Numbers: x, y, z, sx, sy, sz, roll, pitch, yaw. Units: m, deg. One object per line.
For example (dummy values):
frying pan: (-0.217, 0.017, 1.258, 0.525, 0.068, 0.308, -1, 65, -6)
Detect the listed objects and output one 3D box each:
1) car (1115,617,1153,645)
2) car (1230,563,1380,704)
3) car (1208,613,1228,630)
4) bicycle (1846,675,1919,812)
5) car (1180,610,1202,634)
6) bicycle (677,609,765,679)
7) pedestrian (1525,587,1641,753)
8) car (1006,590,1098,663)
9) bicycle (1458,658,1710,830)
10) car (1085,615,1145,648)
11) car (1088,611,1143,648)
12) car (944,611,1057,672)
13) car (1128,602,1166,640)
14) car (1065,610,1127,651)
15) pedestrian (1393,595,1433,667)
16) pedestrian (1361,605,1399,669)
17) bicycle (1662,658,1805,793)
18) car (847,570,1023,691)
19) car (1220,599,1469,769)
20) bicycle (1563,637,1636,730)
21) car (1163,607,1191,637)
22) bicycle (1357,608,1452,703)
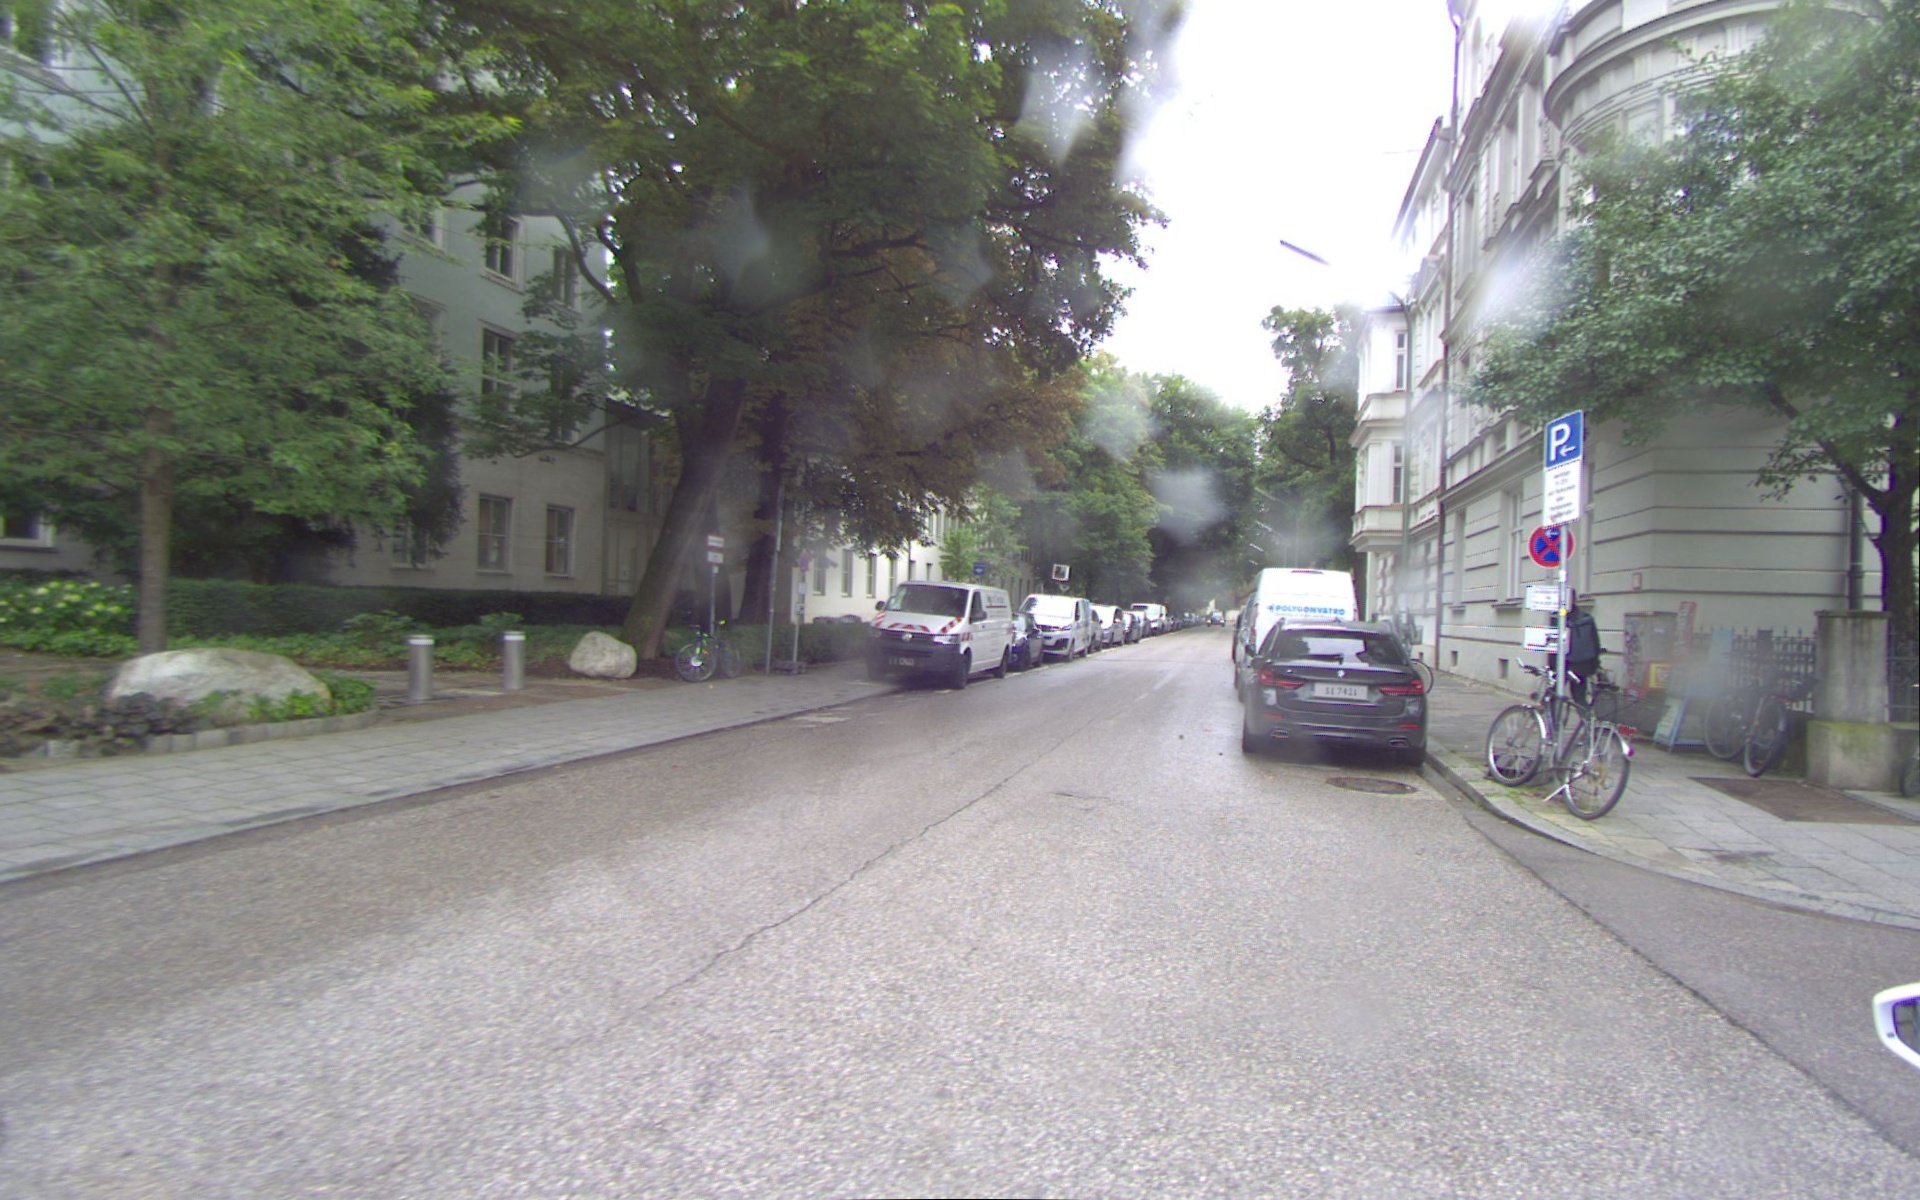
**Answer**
car: (9.435, 1.619, 54.249, 1.788, 1.347, 4.102, 3, 0, 13)
car: (6.181, 0.571, 18.544, 2.166, 2.237, 4.858, 0, -1, 14)
car: (29.539, 2.455, 114.917, 1.960, 1.806, 4.001, 1, 0, 17)
bicycle: (8.419, 1.179, 8.047, 1.891, 1.042, 0.557, 1, 1, 18)
car: (23.314, 2.202, 101.520, 2.012, 2.183, 4.316, 3, 0, 13)
bicycle: (-4.104, 0.740, 17.412, 0.622, 1.117, 1.768, 3, 0, 17)
pedestrian: (6.761, 0.728, 10.960, 0.843, 1.712, 0.976, 0, 0, 17)
car: (2.990, 0.791, 31.469, 2.146, 1.982, 5.170, 3, 0, 13)
bicycle: (4.881, 1.063, 8.081, 0.643, 1.042, 2.202, 1, 1, 0)
car: (7.327, 1.457, 47.219, 2.083, 1.347, 4.139, 3, 0, 18)
car: (7.361, 1.361, 47.279, 1.927, 1.548, 4.044, 3, 0, 17)
car: (1.143, 1.015, 25.956, 2.174, 1.347, 3.951, 3, 0, 13)
car: (11.835, 1.313, 63.280, 1.968, 2.215, 4.698, 3, 0, 14)
car: (5.814, 1.267, 42.529, 2.034, 1.539, 4.239, 3, 0, 15)
pedestrian: (12.036, 0.822, 26.719, 0.844, 1.859, 0.667, 1, 0, 17)
pedestrian: (11.596, 1.007, 27.731, 0.844, 1.710, 0.776, 1, 0, 17)
bicycle: (7.403, 1.149, 9.699, 0.422, 1.042, 1.891, 1, 1, 17)
car: (-0.287, 0.559, 20.210, 2.209, 1.982, 5.457, 3, 0, 13)
car: (4.324, 0.823, 11.827, 2.234, 1.566, 4.588, 0, -1, 17)
bicycle: (8.325, 1.054, 13.135, 0.537, 1.074, 1.749, 1, 0, 24)
car: (17.127, 1.729, 79.325, 2.012, 2.183, 4.316, 3, 0, 13)
bicycle: (7.734, 0.928, 17.593, 0.696, 1.535, 2.038, 1, 0, -1)
